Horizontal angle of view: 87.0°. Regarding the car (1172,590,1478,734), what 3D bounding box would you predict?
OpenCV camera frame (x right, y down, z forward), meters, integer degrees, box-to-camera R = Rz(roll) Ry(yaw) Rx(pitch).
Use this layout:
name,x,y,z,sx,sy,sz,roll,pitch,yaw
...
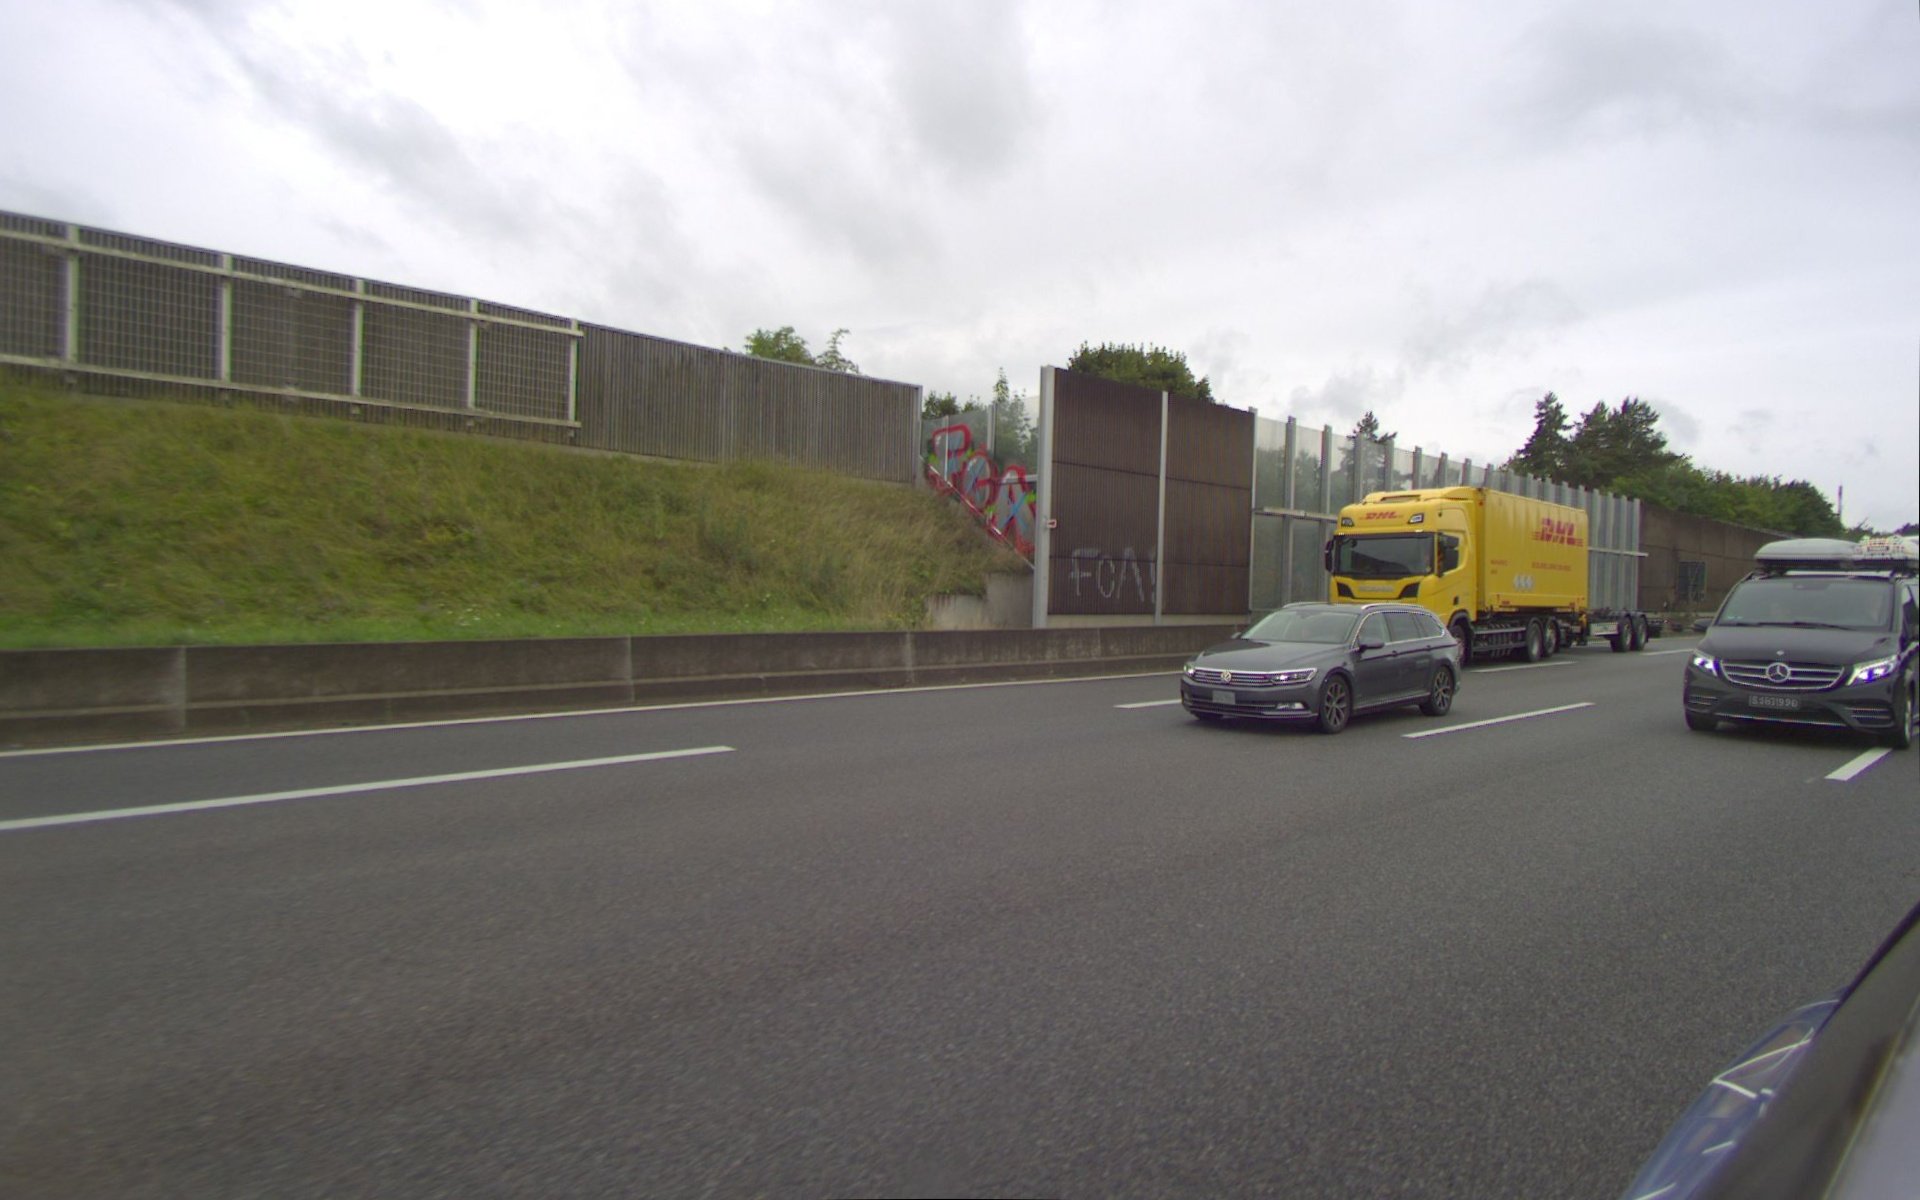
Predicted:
name,x,y,z,sx,sy,sz,roll,pitch,yaw
car,4.620,0.626,12.467,4.393,1.475,1.665,0,0,-42

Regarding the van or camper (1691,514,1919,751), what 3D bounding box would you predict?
name,x,y,z,sx,sy,sz,roll,pitch,yaw
van or camper,10.814,0.316,12.328,5.580,2.298,1.894,0,0,-41

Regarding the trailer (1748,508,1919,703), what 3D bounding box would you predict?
name,x,y,z,sx,sy,sz,roll,pitch,yaw
trailer,15.624,0.084,16.670,7.379,2.675,2.726,1,1,-41

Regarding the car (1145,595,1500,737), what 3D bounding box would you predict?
name,x,y,z,sx,sy,sz,roll,pitch,yaw
car,4.742,0.686,12.766,5.196,1.445,1.943,0,-1,-41

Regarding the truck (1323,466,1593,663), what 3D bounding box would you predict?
name,x,y,z,sx,sy,sz,roll,pitch,yaw
truck,12.377,-0.733,24.597,9.166,4.008,2.689,0,0,-42

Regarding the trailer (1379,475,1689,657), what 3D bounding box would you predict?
name,x,y,z,sx,sy,sz,roll,pitch,yaw
trailer,17.026,-0.775,28.804,16.399,4.003,2.654,0,0,-42
